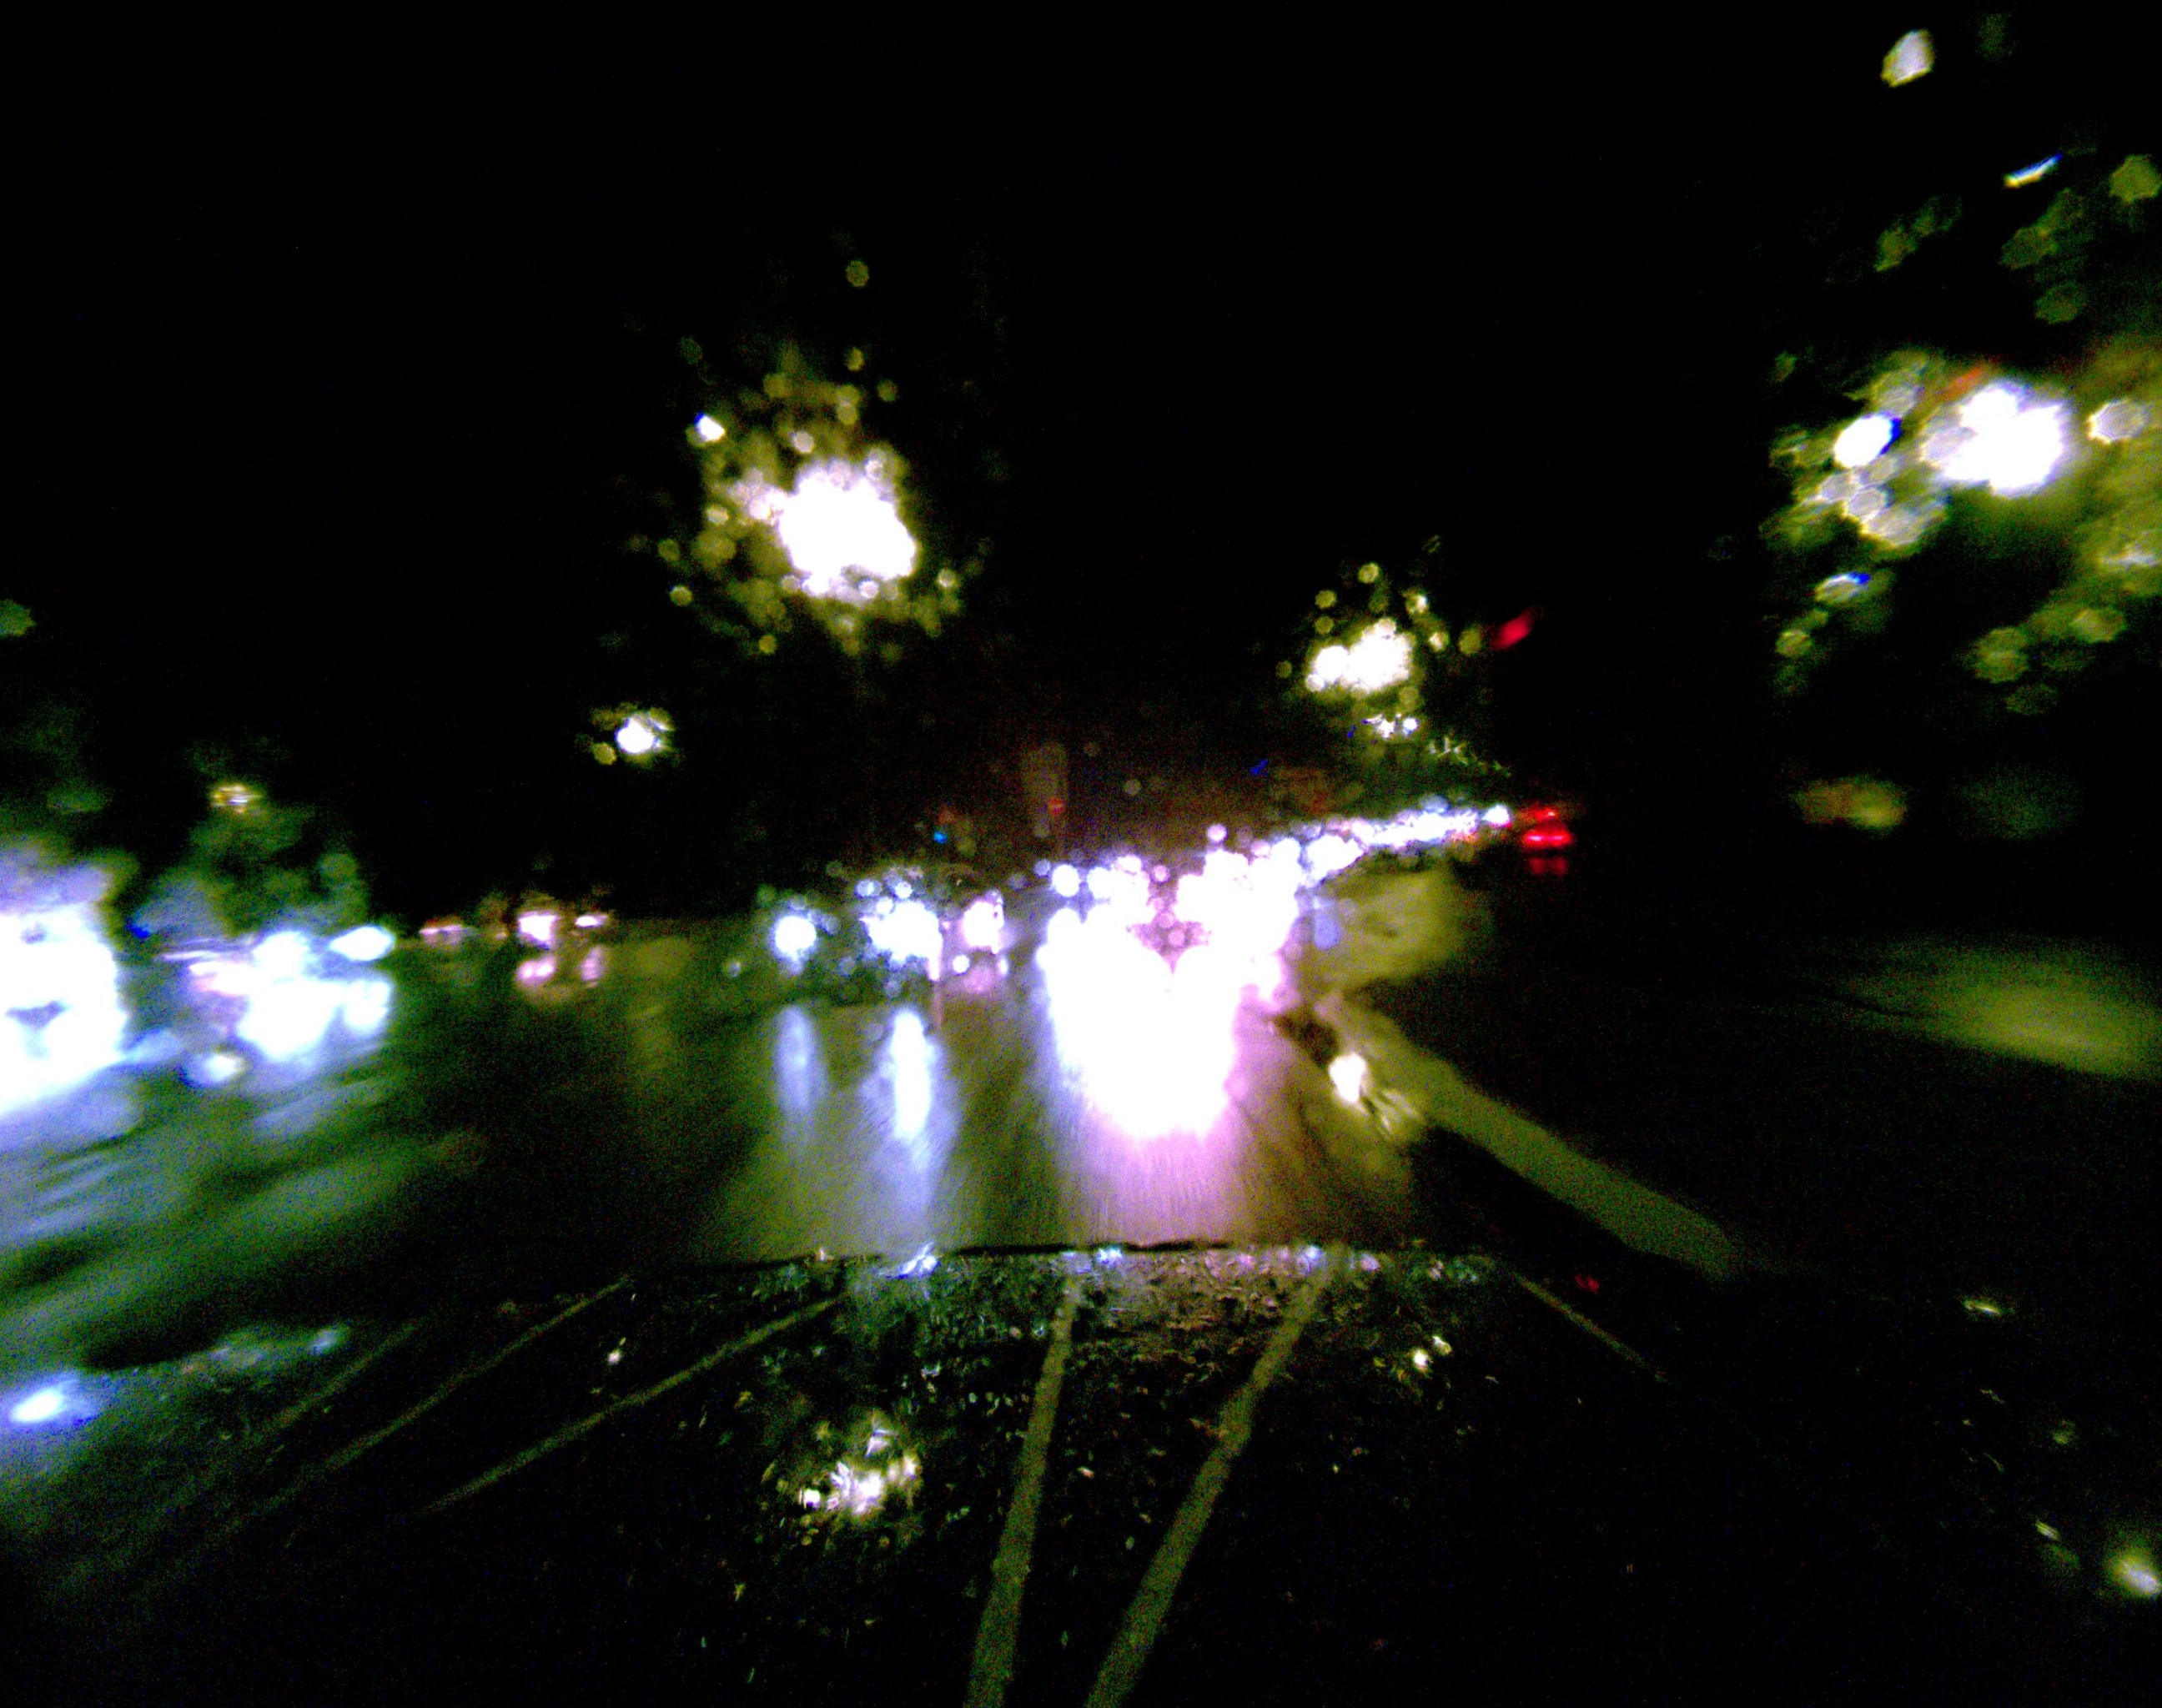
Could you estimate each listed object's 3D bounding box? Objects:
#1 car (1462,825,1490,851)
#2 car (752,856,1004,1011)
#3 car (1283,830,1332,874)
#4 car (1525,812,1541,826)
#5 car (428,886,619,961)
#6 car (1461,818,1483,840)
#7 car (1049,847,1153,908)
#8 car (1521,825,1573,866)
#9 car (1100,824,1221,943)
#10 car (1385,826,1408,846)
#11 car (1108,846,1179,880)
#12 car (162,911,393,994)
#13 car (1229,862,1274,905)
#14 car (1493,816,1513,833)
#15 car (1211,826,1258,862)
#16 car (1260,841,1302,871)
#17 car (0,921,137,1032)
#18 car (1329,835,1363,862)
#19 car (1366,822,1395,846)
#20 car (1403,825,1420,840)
[{"bbox_3d":[30.223,-1.250,58.251,1.740,1.845,4.006,-3,0,27],"label":"car"},{"bbox_3d":[-2.568,0.928,10.847,1.926,1.704,4.241,-1,1,8],"label":"car"},{"bbox_3d":[13.767,-0.153,46.025,1.996,2.003,4.002,-6,5,28],"label":"car"},{"bbox_3d":[69.817,-5.341,117.304,1.790,2.002,4.007,-2,1,34],"label":"car"},{"bbox_3d":[-14.302,1.742,19.520,4.109,1.630,2.003,-2,1,21],"label":"car"},{"bbox_3d":[36.892,-2.354,71.754,1.740,1.845,4.006,-3,0,27],"label":"car"},{"bbox_3d":[0.739,0.659,23.654,2.044,1.611,4.292,-3,0,18],"label":"car"},{"bbox_3d":[25.158,-0.470,41.163,1.995,2.002,4.006,-3,0,27],"label":"car"},{"bbox_3d":[1.669,0.470,15.377,1.997,2.002,4.001,-4,1,8],"label":"car"},{"bbox_3d":[33.921,-1.930,81.590,1.866,2.002,4.006,-3,0,27],"label":"car"},{"bbox_3d":[3.664,0.493,43.915,1.995,1.688,4.270,-3,0,37],"label":"car"},{"bbox_3d":[-17.390,2.028,16.447,4.535,1.401,2.003,-2,1,24],"label":"car"},{"bbox_3d":[6.914,1.139,30.596,1.303,1.520,3.050,-3,0,20],"label":"car"},{"bbox_3d":[52.506,-3.639,94.597,1.790,2.002,4.007,-2,1,34],"label":"car"},{"bbox_3d":[9.339,-0.627,46.069,1.866,2.002,4.006,-3,0,24],"label":"car"},{"bbox_3d":[15.044,0.135,56.973,1.832,2.002,4.007,-3,0,31],"label":"car"},{"bbox_3d":[-19.608,2.144,13.718,4.771,1.630,2.003,-2,1,24],"label":"car"},{"bbox_3d":[21.182,-0.491,60.675,1.995,2.002,4.006,-3,0,26],"label":"car"},{"bbox_3d":[28.157,-1.883,71.399,1.865,2.002,4.007,-3,0,31],"label":"car"},{"bbox_3d":[45.855,-2.977,105.403,1.866,2.002,4.006,-3,0,27],"label":"car"}]
